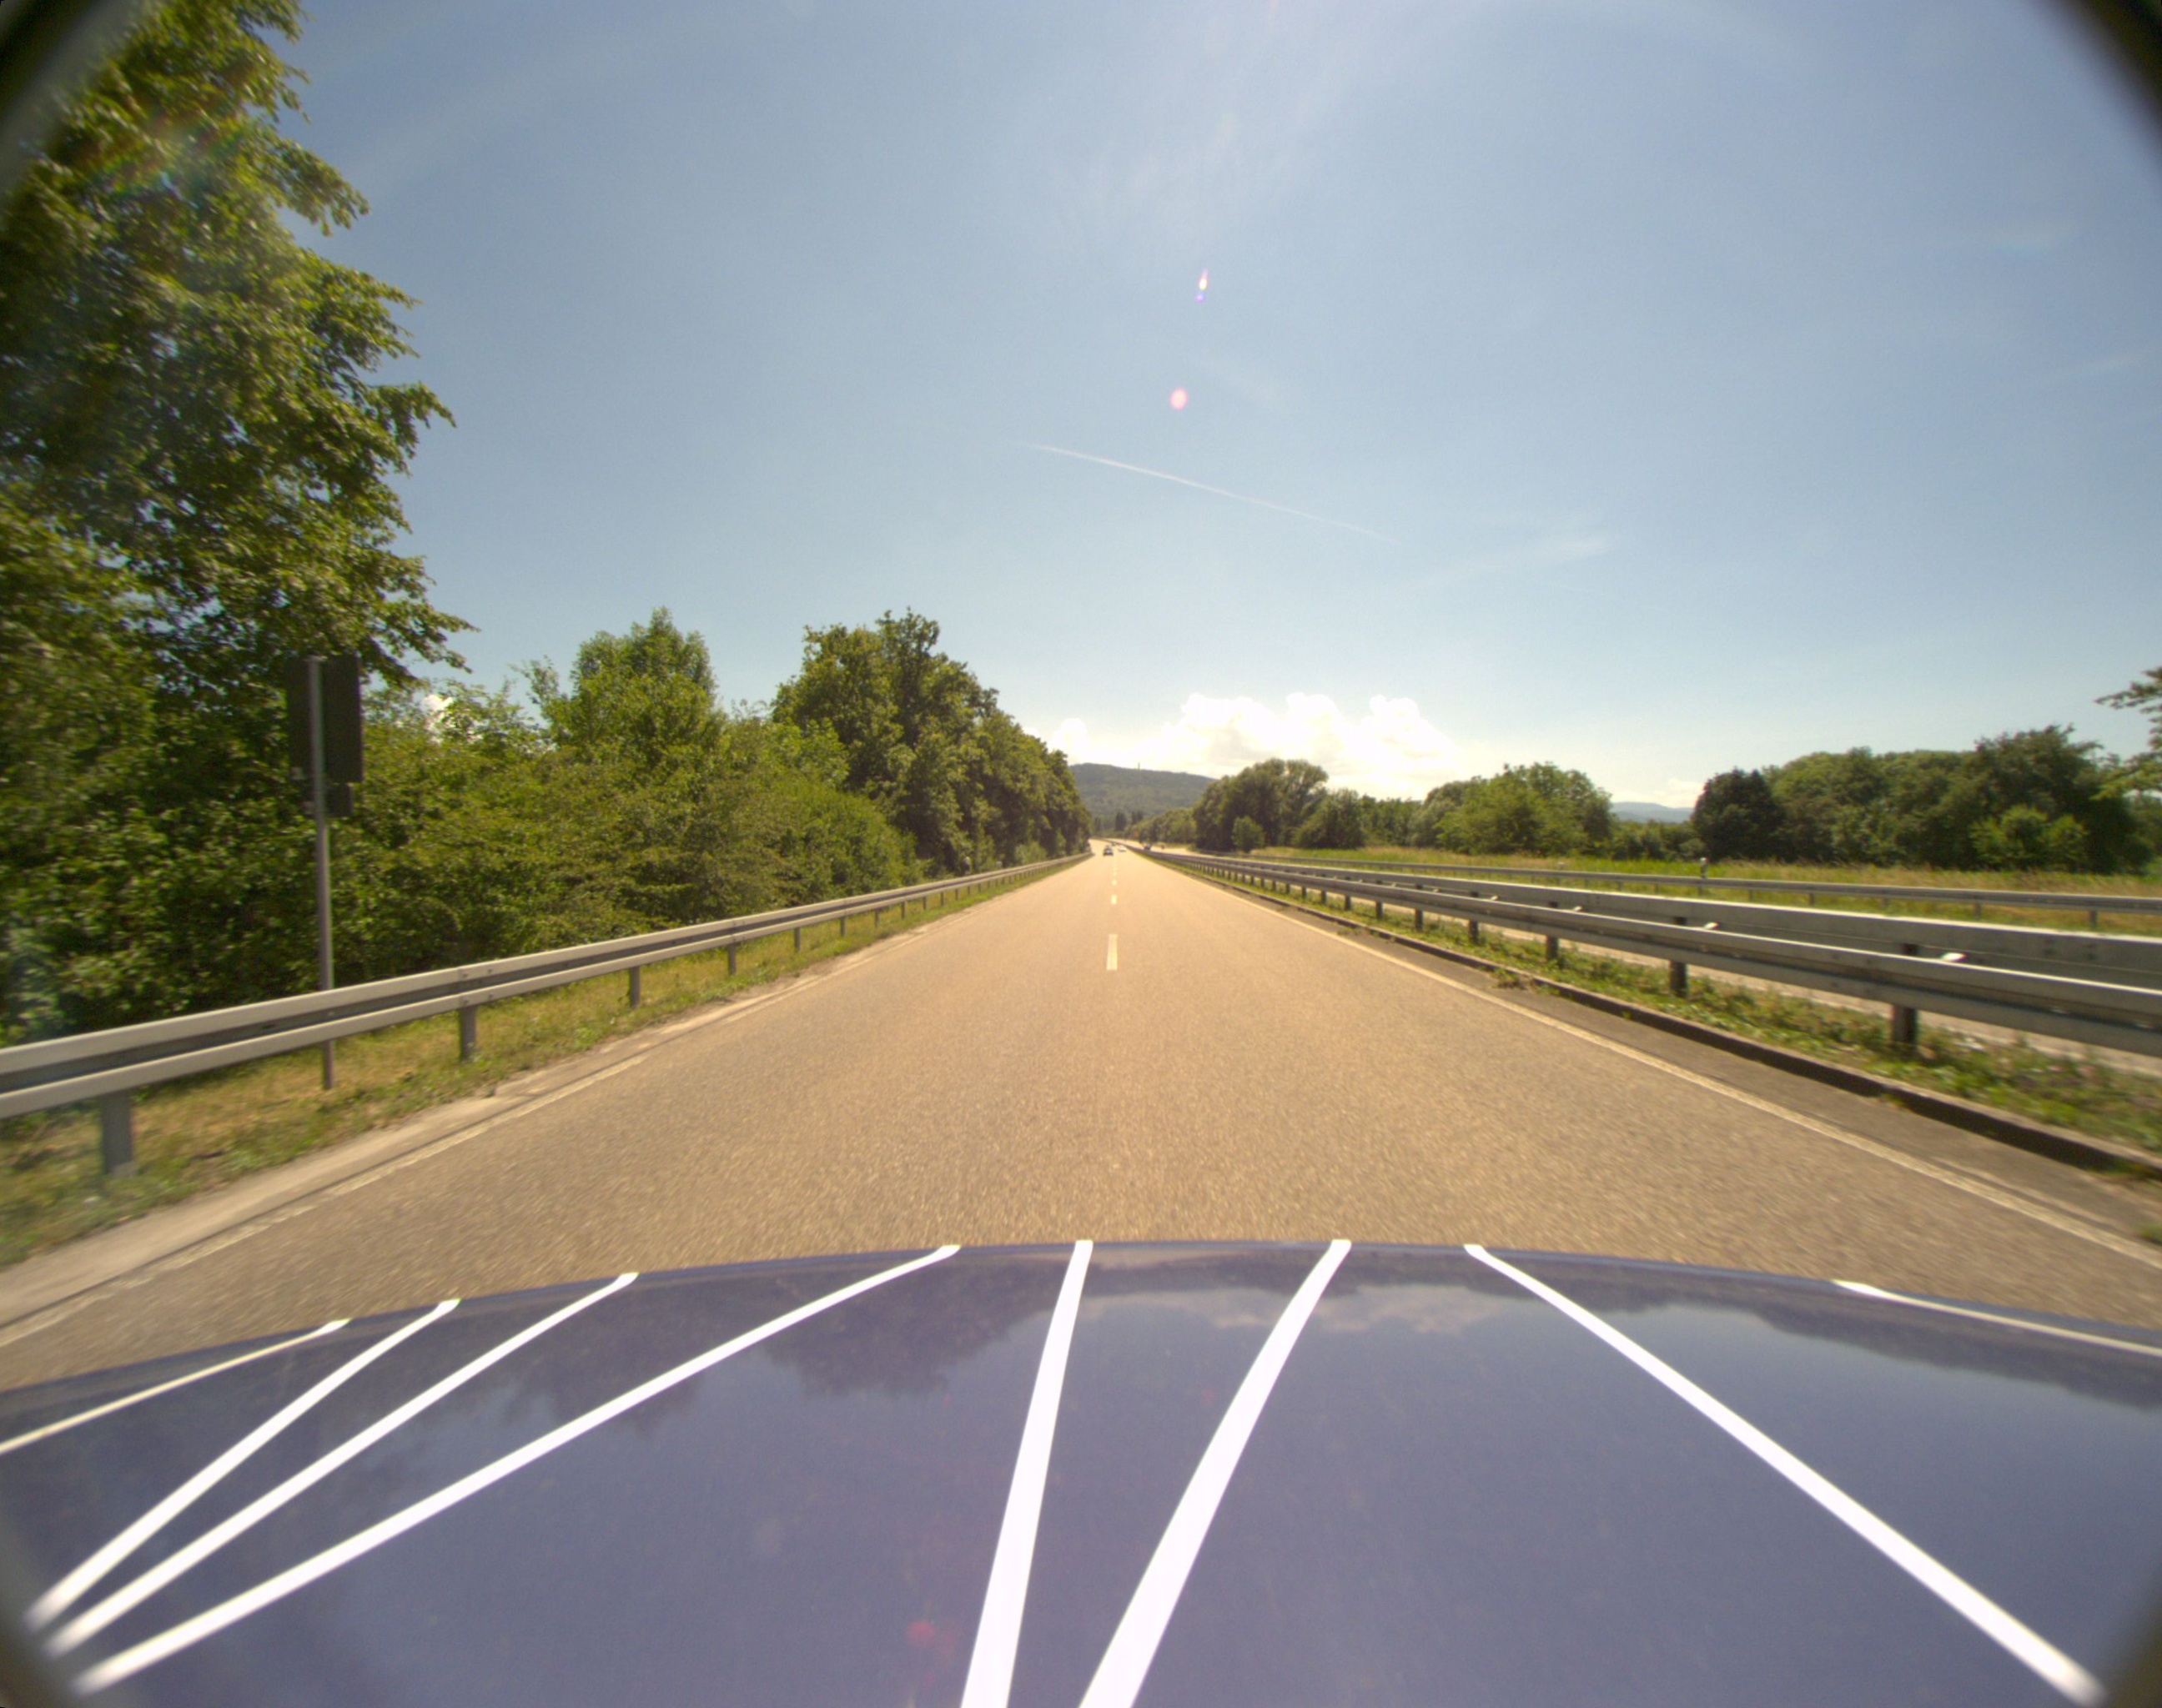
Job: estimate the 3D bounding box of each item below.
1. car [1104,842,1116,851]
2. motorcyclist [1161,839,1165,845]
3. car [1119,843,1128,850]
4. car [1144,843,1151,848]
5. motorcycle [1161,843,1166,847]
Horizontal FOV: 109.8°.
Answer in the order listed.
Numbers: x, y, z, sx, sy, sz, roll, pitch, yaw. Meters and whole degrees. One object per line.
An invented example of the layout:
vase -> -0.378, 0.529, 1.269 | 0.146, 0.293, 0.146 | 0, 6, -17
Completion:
car -> 5.369, -1.409, 140.305 | 1.908, 1.368, 3.891 | -2, 2, 5
motorcyclist -> 22.531, -3.375, 208.250 | 0.947, 1.608, 0.809 | 0, 1, 2
car -> 10.649, -1.847, 190.483 | 1.908, 1.687, 3.891 | -2, 2, 5
car -> 17.385, -2.312, 199.864 | 1.632, 1.324, 3.535 | -1, 1, 3
motorcycle -> 22.644, -2.588, 208.040 | 1.066, 1.058, 3.818 | 0, 1, 3
